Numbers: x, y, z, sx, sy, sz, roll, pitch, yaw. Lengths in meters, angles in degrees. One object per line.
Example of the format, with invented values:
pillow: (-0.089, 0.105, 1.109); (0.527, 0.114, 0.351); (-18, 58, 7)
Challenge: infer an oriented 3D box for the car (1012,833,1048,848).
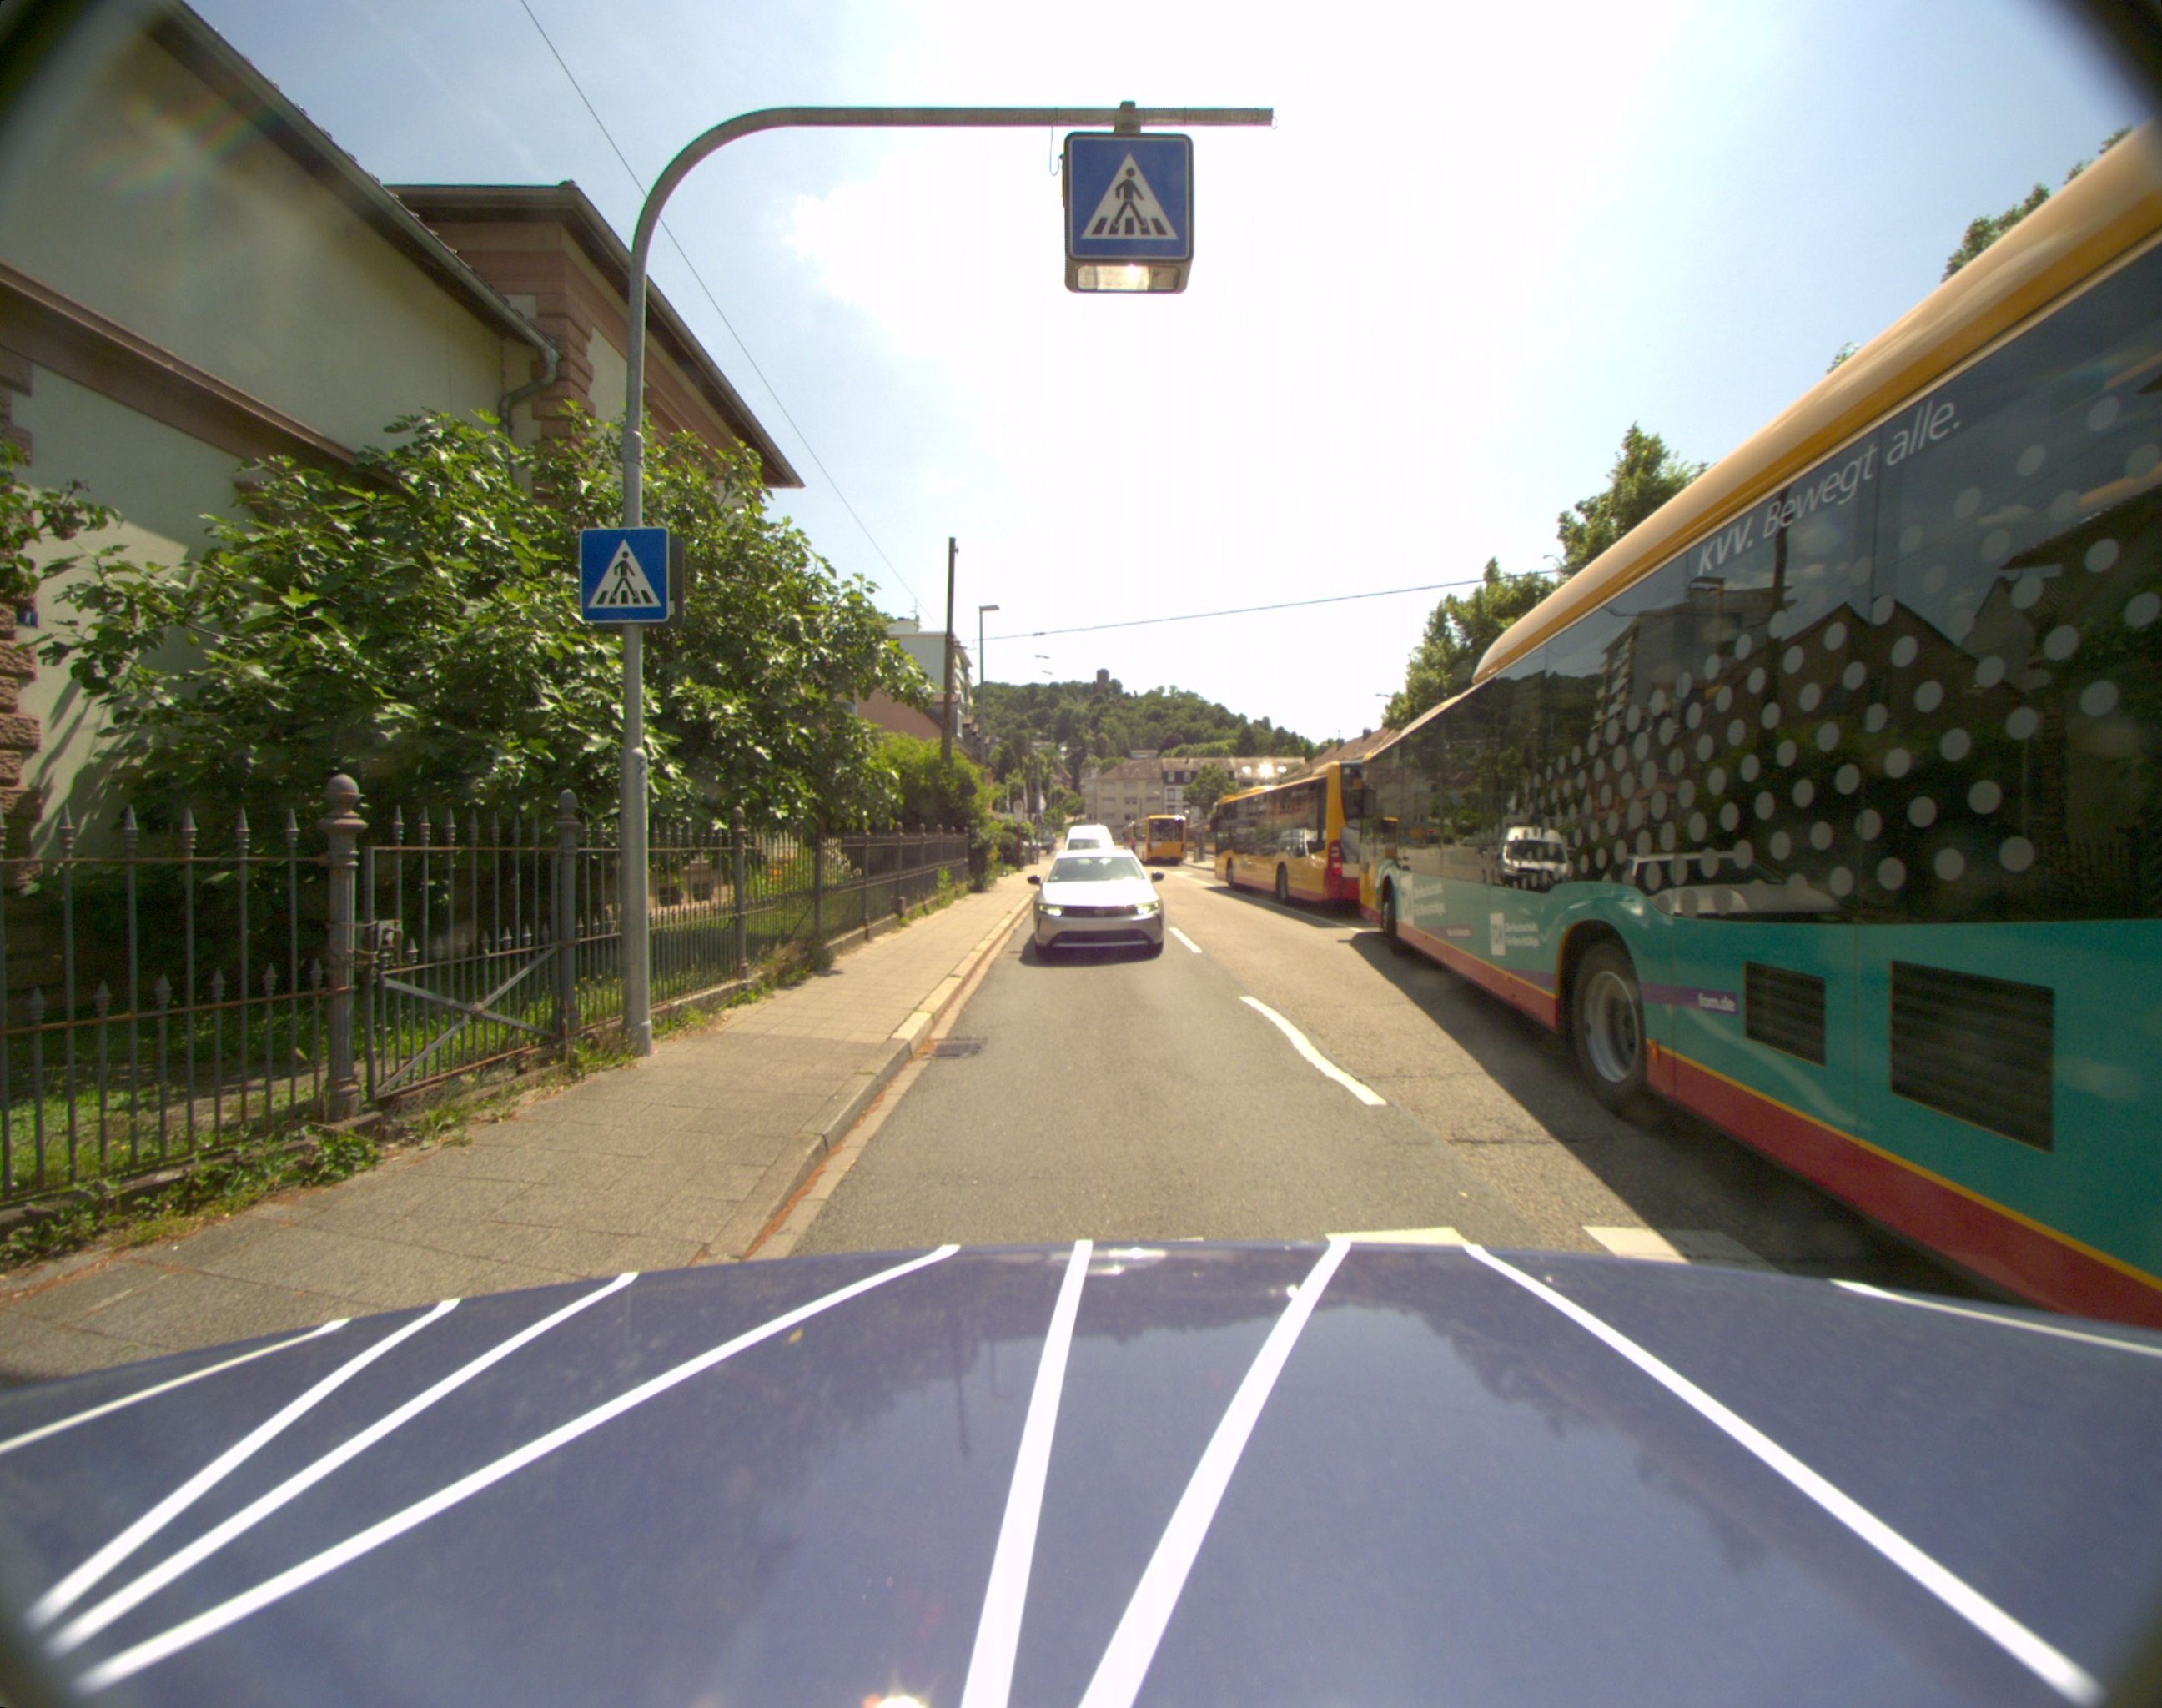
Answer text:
car: (-6.377, -1.720, 94.642); (4.277, 1.780, 1.826); (0, 4, 39)

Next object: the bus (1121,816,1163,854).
bus: (5.857, -1.815, 74.702); (2.915, 3.407, 12.036); (-2, 1, 0)

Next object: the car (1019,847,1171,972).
car: (0.311, 0.655, 11.368); (1.818, 1.372, 4.391); (-1, 2, 4)

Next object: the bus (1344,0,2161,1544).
bus: (4.577, -0.333, 6.450); (2.784, 3.190, 12.315); (-2, 1, 12)

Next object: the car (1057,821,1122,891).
car: (0.219, -0.056, 28.413); (1.999, 2.259, 5.440); (-2, 3, -3)

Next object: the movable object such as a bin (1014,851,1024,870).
movable object such as a bin: (-3.184, 0.327, 39.011); (0.407, 0.902, 0.729); (3, 3, -3)

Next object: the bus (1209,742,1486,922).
bus: (5.974, -0.601, 20.123); (2.915, 3.230, 12.113); (-2, 2, 0)

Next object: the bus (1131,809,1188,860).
bus: (5.530, -1.581, 55.456); (2.905, 3.230, 12.190); (-2, 3, 0)
